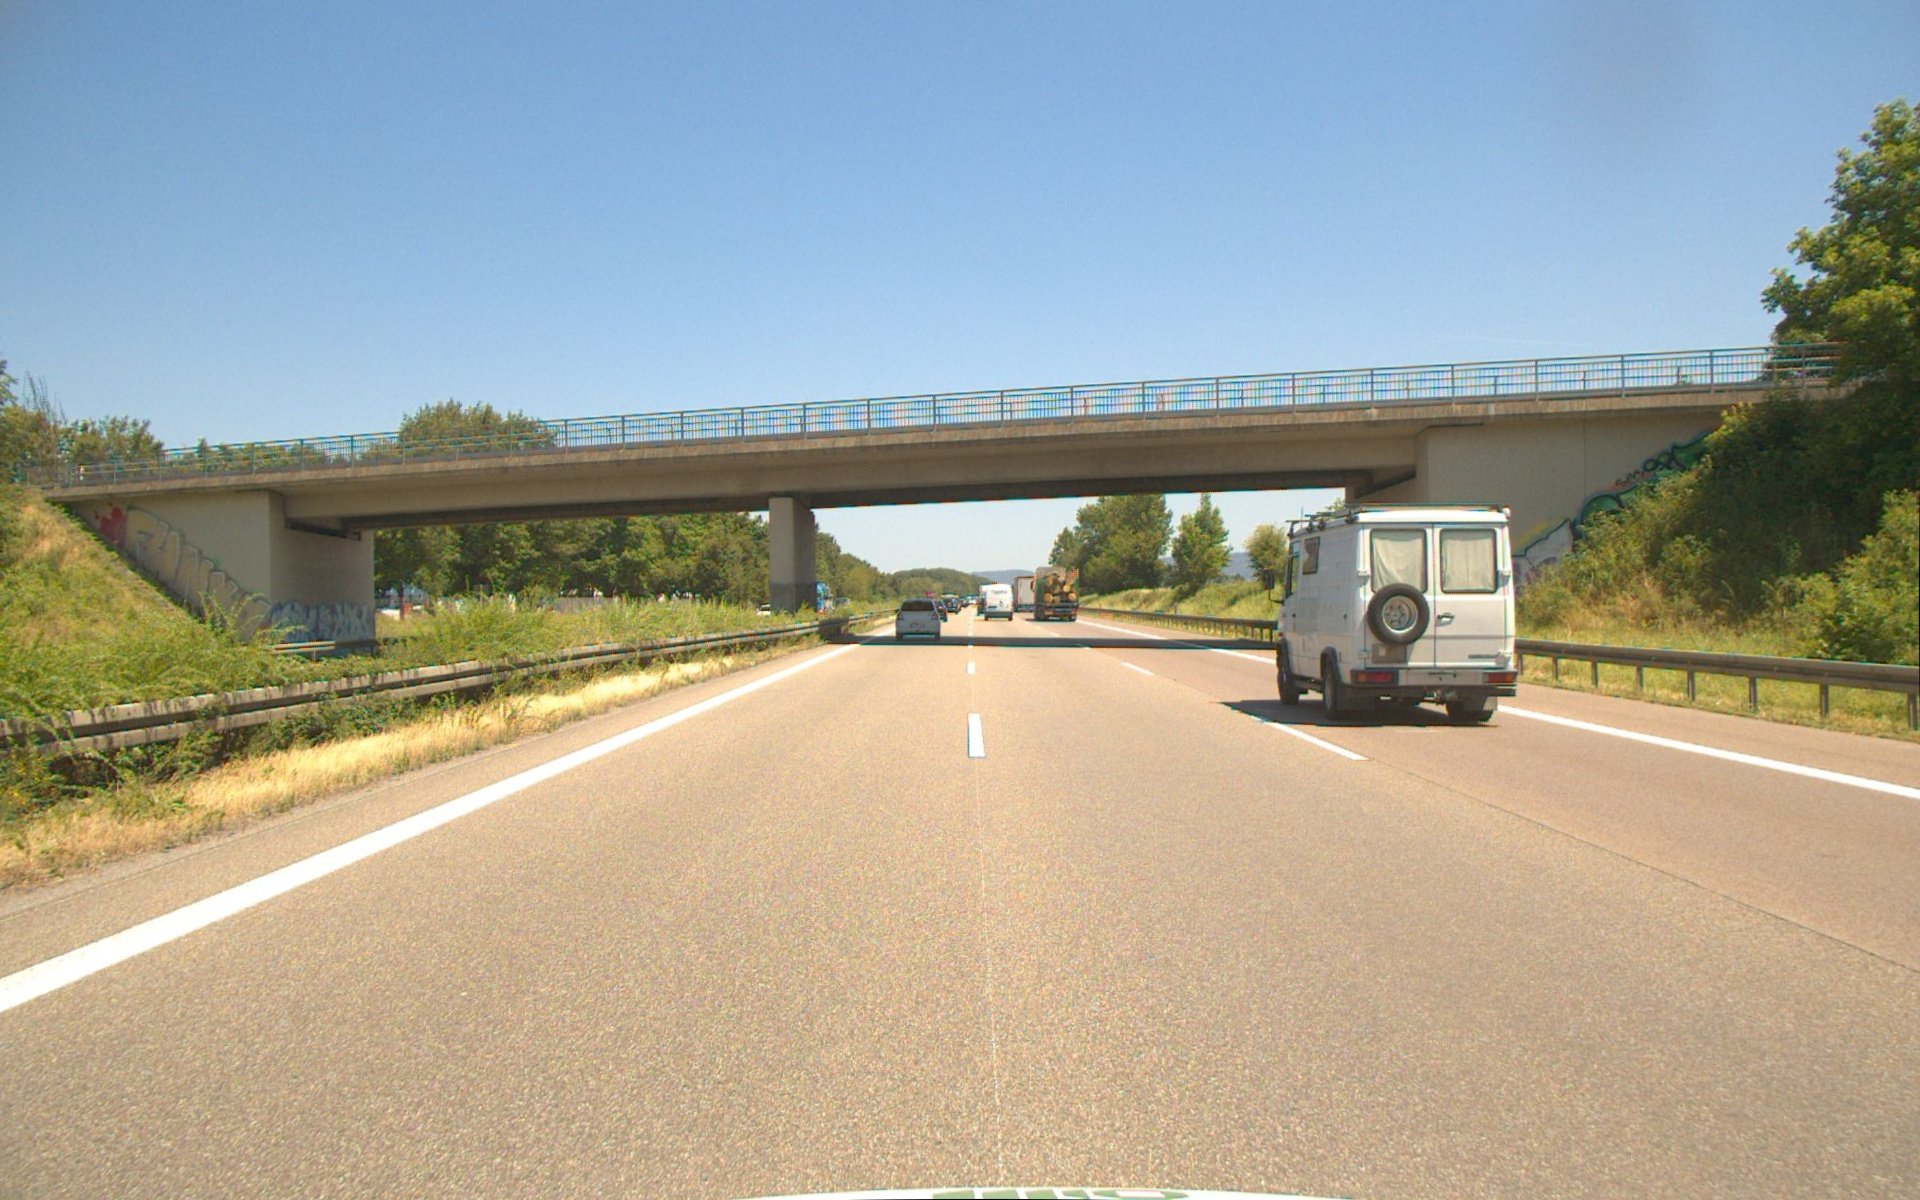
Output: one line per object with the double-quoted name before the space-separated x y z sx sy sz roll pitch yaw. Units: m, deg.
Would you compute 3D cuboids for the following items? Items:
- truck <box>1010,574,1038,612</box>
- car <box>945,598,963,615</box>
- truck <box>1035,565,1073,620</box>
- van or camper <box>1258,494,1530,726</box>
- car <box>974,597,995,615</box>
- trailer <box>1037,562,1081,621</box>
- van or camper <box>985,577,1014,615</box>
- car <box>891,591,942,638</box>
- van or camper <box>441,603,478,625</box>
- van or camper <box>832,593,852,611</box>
"truck" 7.589 -0.720 197.444 3.015 4.283 16.845 1 0 1
"car" -0.591 0.623 165.311 1.819 1.681 3.999 0 0 -1
"truck" 7.221 -0.564 127.226 2.615 4.064 6.636 0 0 1
"van or camper" 5.747 0.133 22.904 2.070 2.750 6.367 0 0 0
"car" 2.245 0.532 153.445 1.819 1.681 3.999 0 0 -1
"trailer" 7.110 -0.553 120.214 2.598 4.028 13.637 0 0 1
"van or camper" 2.767 -0.271 117.949 2.016 2.668 5.985 0 0 1
"car" -1.599 0.521 62.225 1.819 1.681 3.999 1 0 -1
"van or camper" -61.722 1.660 204.141 2.309 2.597 7.724 -2 0 -1
"van or camper" -13.237 0.237 186.027 1.953 1.902 4.455 -2 0 -1
